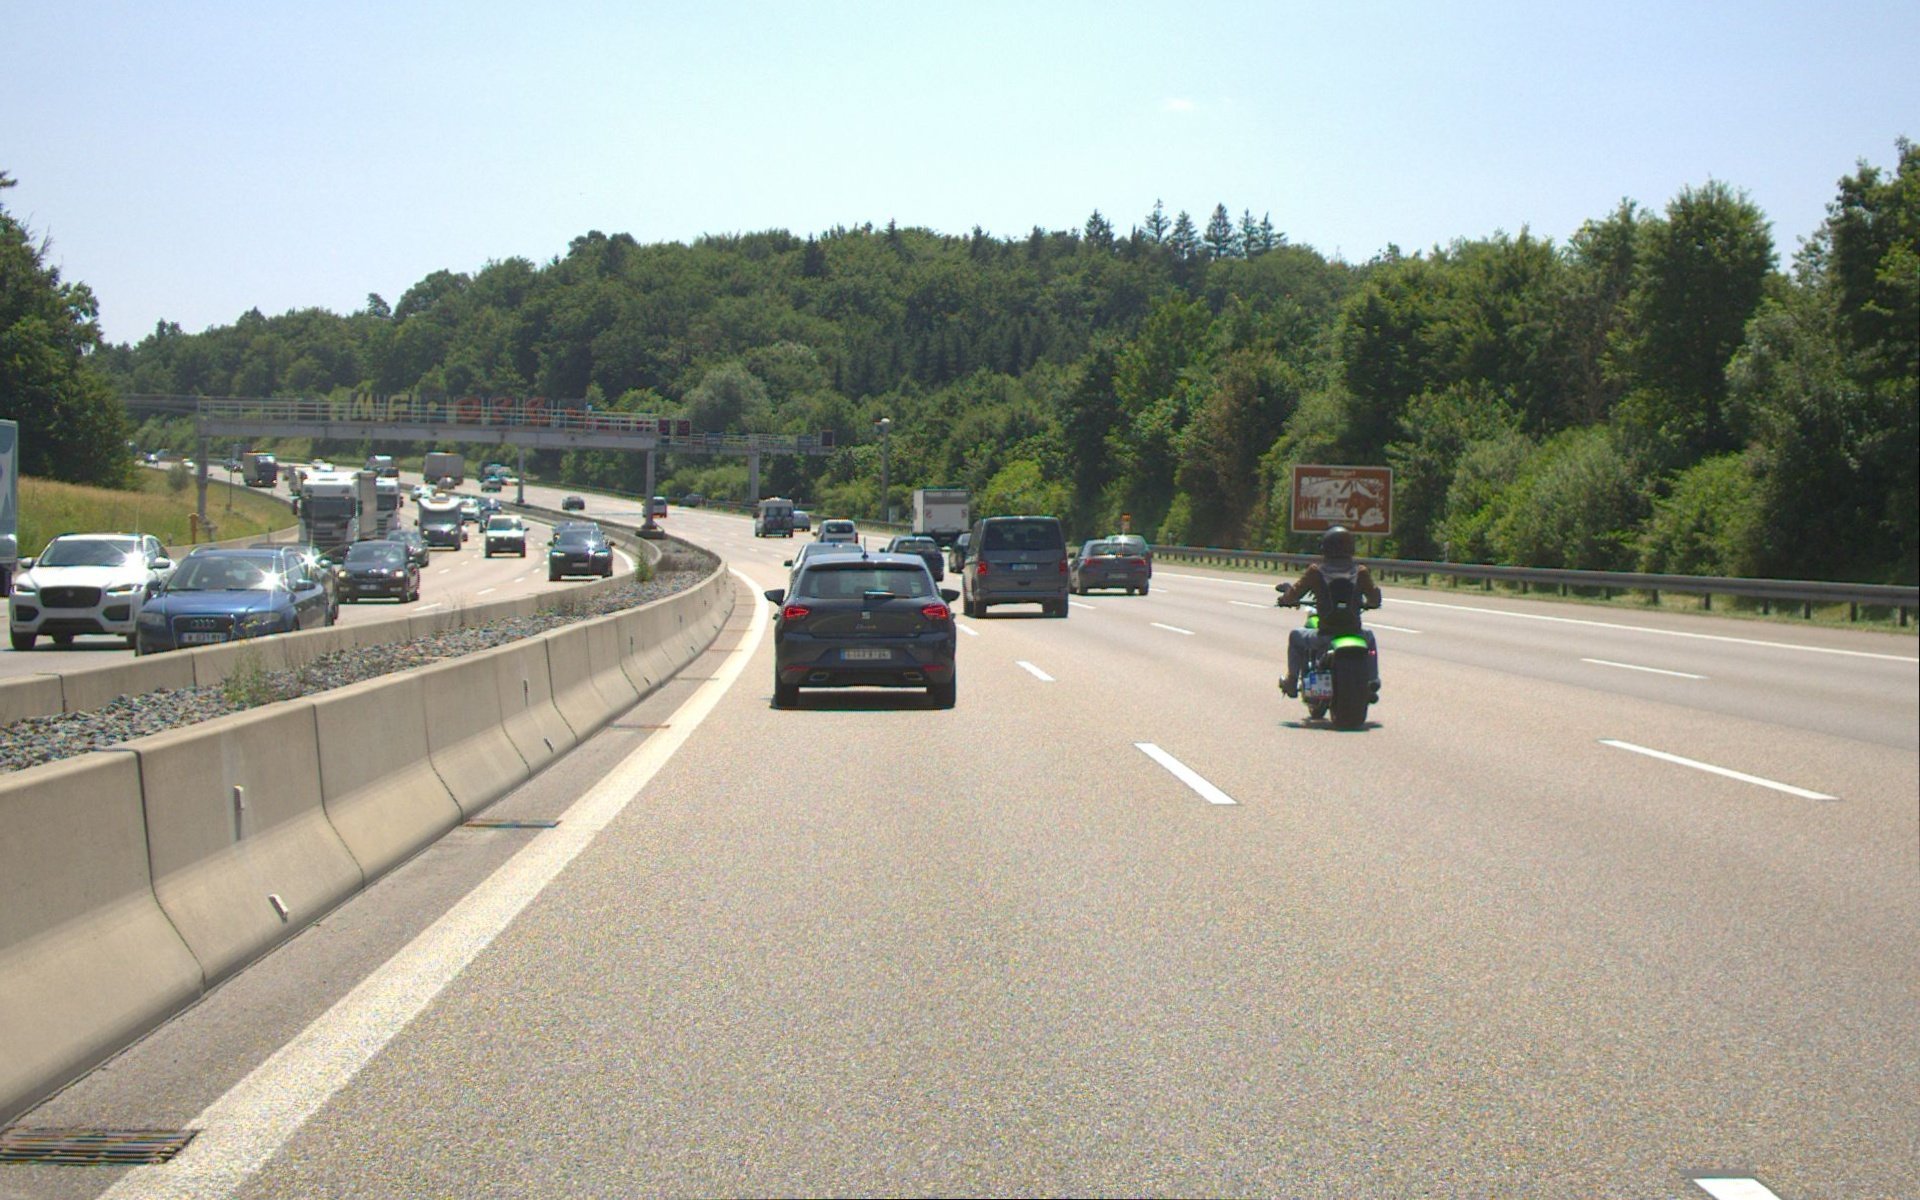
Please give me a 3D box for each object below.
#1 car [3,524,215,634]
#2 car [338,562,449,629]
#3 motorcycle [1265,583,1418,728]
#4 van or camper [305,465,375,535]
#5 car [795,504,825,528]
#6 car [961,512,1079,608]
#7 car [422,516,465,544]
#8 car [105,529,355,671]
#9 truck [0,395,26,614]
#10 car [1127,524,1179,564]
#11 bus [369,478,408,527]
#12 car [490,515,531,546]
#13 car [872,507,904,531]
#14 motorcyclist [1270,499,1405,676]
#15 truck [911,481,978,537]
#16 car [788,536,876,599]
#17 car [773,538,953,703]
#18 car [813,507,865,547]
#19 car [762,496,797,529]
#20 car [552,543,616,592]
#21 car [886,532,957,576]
[{"bbox_3d":[-12.542,-0.335,50.952,1.993,1.543,4.881,-1,1,-1],"label":"car"},{"bbox_3d":[-13.855,-0.139,84.271,2.024,1.543,4.882,-1,1,-2],"label":"car"},{"bbox_3d":[3.145,0.438,28.571,0.977,1.125,2.271,0,1,-1],"label":"motorcycle"},{"bbox_3d":[-27.203,-4.420,151.000,2.314,2.762,7.165,3,3,-5],"label":"van or camper"},{"bbox_3d":[-10.816,-6.073,248.422,1.993,1.568,4.000,3,1,-1],"label":"car"},{"bbox_3d":[1.162,-0.804,68.438,2.097,1.845,4.081,0,1,-3],"label":"car"},{"bbox_3d":[-27.604,-3.760,183.828,1.993,1.349,3.837,3,1,-6],"label":"car"},{"bbox_3d":[-8.457,-0.038,40.228,1.993,1.543,4.882,-1,1,-2],"label":"car"},{"bbox_3d":[-20.117,-1.786,62.001,2.899,4.336,16.559,0,1,-3],"label":"truck"},{"bbox_3d":[6.371,-1.850,113.756,1.608,1.208,3.459,0,-1,2],"label":"car"},{"bbox_3d":[-34.448,-5.895,207.194,1.762,2.828,4.622,3,1,-4],"label":"bus"},{"bbox_3d":[-21.536,-3.341,164.866,1.775,1.364,3.483,3,1,-6],"label":"car"},{"bbox_3d":[-5.090,-5.722,243.081,1.993,1.568,4.001,3,1,-4],"label":"car"},{"bbox_3d":[3.130,-0.111,28.629,0.962,1.433,1.235,0,1,-1],"label":"motorcyclist"},{"bbox_3d":[-0.831,-4.775,179.789,2.726,2.776,5.684,3,1,-7],"label":"truck"},{"bbox_3d":[-2.715,-0.694,72.442,1.782,1.261,3.460,-1,1,-3],"label":"car"},{"bbox_3d":[-0.956,0.168,32.979,1.624,1.482,3.685,0,1,-3],"label":"car"},{"bbox_3d":[-5.596,-3.361,158.088,1.993,1.678,4.425,3,1,-6],"label":"car"},{"bbox_3d":[-11.933,-5.775,226.814,1.993,2.006,4.676,3,1,-6],"label":"car"},{"bbox_3d":[-12.312,-1.071,112.428,1.986,1.543,4.882,-1,1,-7],"label":"car"},{"bbox_3d":[-1.240,-1.480,109.310,1.841,1.218,4.225,3,1,-6],"label":"car"}]
